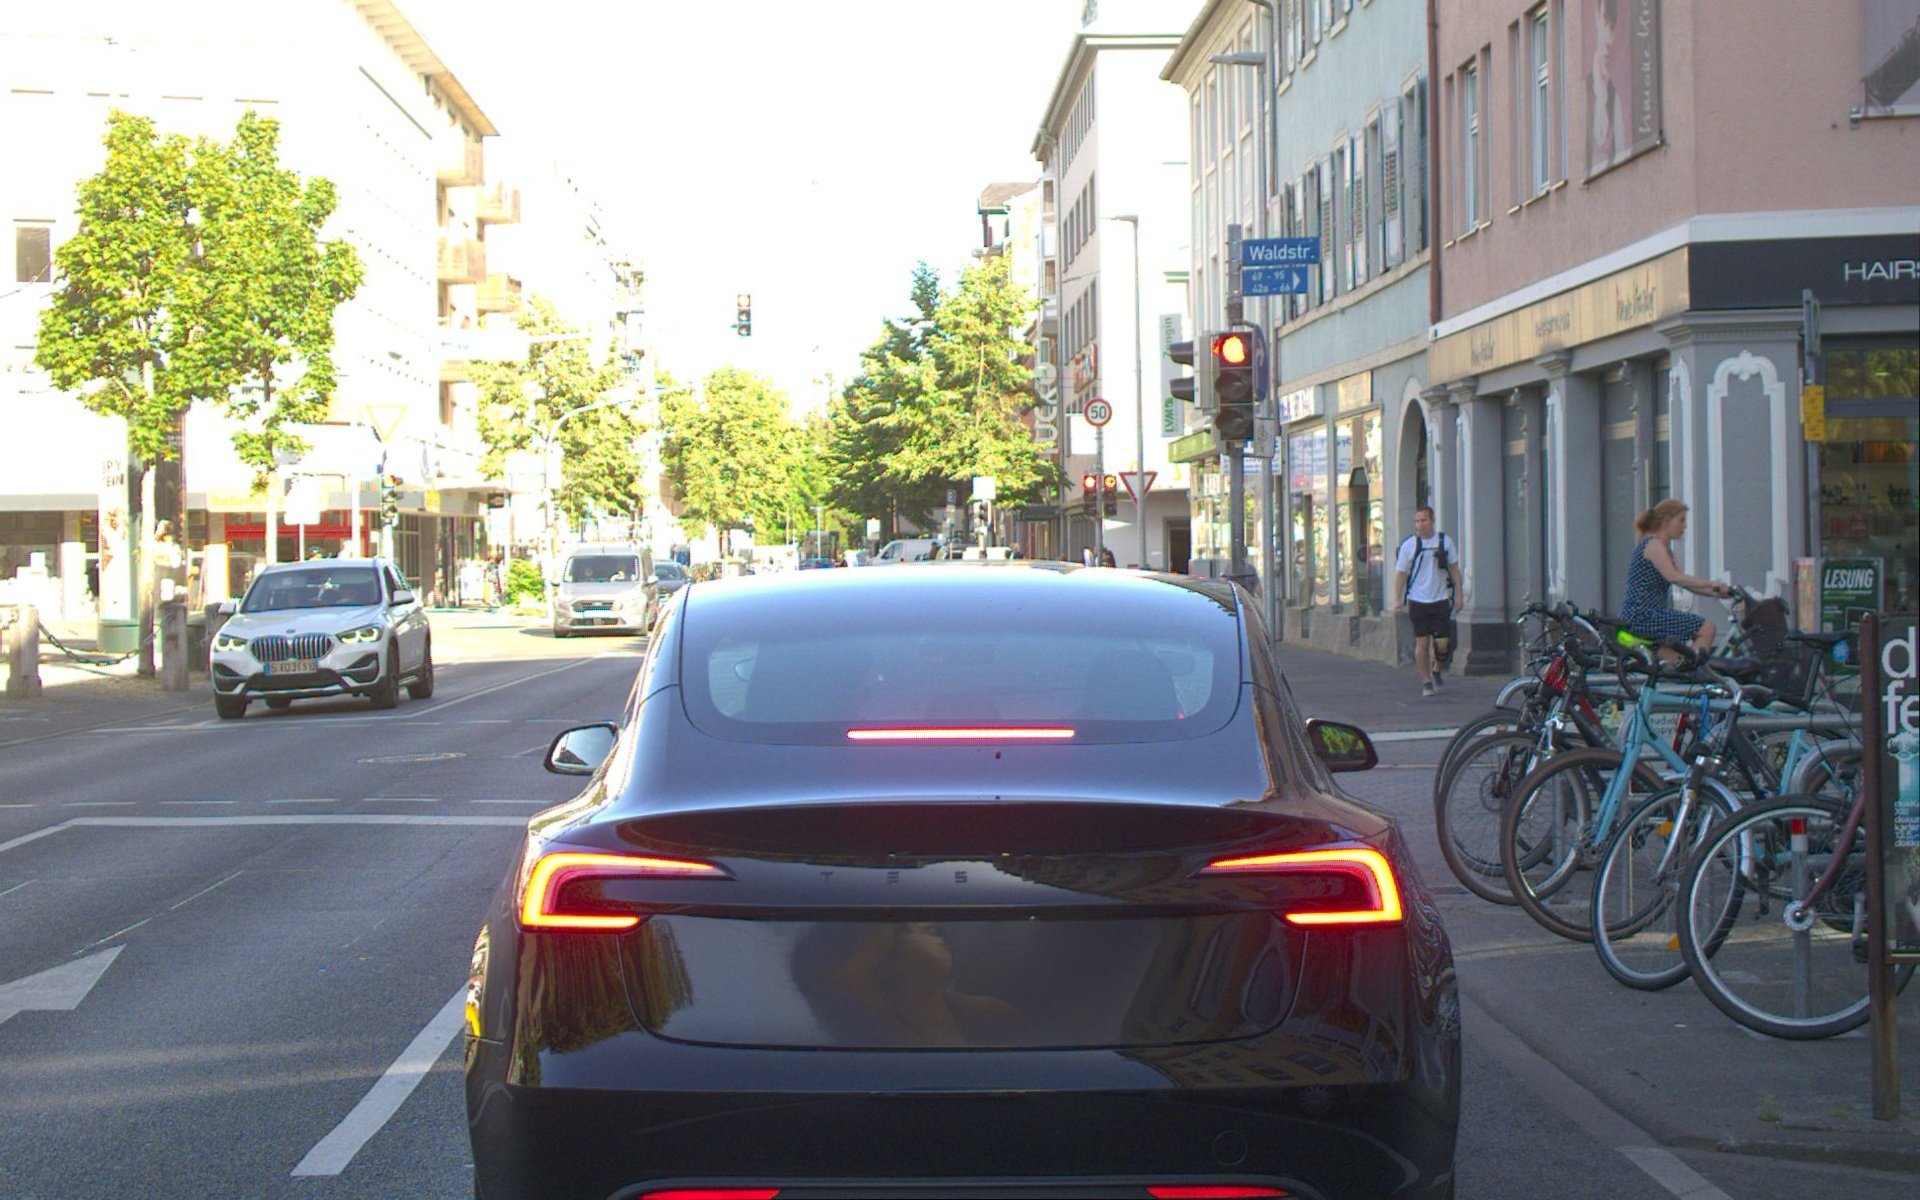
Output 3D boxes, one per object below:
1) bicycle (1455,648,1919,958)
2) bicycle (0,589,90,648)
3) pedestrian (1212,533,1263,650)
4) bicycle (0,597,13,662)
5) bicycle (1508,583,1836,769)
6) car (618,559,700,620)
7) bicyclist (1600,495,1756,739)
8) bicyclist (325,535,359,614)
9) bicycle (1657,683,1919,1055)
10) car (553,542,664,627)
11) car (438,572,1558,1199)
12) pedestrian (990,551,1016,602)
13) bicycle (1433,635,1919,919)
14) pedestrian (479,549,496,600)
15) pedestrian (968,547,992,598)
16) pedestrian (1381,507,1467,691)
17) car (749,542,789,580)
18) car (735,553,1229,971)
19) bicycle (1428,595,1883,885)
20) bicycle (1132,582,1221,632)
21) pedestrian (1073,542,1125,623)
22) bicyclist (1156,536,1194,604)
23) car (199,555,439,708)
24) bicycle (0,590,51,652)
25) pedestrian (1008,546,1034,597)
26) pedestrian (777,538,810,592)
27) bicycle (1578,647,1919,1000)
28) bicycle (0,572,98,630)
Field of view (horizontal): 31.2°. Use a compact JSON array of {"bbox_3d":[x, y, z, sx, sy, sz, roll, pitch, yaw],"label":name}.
[{"bbox_3d":[2.775,0.724,12.448,1.873,1.034,0.533,-2,0,4],"label":"bicycle"},{"bbox_3d":[-14.835,0.294,54.641,1.864,0.931,0.606,0,1,-1],"label":"bicycle"},{"bbox_3d":[4.147,-0.118,51.433,0.706,1.736,0.540,0,-1,-1],"label":"pedestrian"},{"bbox_3d":[-14.742,0.408,49.841,1.864,0.931,0.606,1,0,-1],"label":"bicycle"},{"bbox_3d":[4.414,0.452,21.297,1.935,1.114,0.708,0,0,17],"label":"bicycle"},{"bbox_3d":[-7.436,-0.279,85.078,1.715,1.441,3.845,1,1,-1],"label":"car"},{"bbox_3d":[4.454,0.101,21.297,0.891,1.477,0.701,0,0,17],"label":"bicyclist"},{"bbox_3d":[-11.874,-0.491,66.077,0.522,1.498,0.476,1,0,-24],"label":"bicyclist"},{"bbox_3d":[3.009,0.759,9.977,1.873,1.034,0.353,-2,0,6],"label":"bicycle"},{"bbox_3d":[-6.907,-0.333,67.937,1.787,1.640,4.403,0,1,-1],"label":"car"},{"bbox_3d":[0.039,0.661,7.599,1.822,1.437,4.000,0,1,-1],"label":"car"},{"bbox_3d":[1.195,-0.655,95.040,0.521,1.417,0.479,1,0,-30],"label":"pedestrian"},{"bbox_3d":[2.843,0.692,13.590,1.873,1.034,0.547,-2,0,5],"label":"bicycle"},{"bbox_3d":[-13.582,-0.729,98.873,0.459,1.455,0.518,0,1,-5],"label":"pedestrian"},{"bbox_3d":[0.557,-0.769,95.757,0.472,1.412,0.522,1,0,-31],"label":"pedestrian"},{"bbox_3d":[4.525,-0.013,33.573,0.750,1.759,0.836,-1,0,4],"label":"pedestrian"},{"bbox_3d":[-10.367,-2.137,186.978,1.993,2.007,4.000,1,1,-1],"label":"car"},{"bbox_3d":[0.010,0.538,13.822,1.718,1.420,3.758,0,1,-2],"label":"car"},{"bbox_3d":[2.963,0.596,14.754,1.828,1.165,0.505,-2,0,5],"label":"bicycle"},{"bbox_3d":[4.496,0.148,71.352,1.784,1.003,0.472,1,0,-16],"label":"bicycle"},{"bbox_3d":[2.809,-0.359,69.394,0.754,1.626,0.956,1,0,-18],"label":"pedestrian"},{"bbox_3d":[4.460,-0.623,71.331,0.669,1.390,0.462,1,0,-16],"label":"bicyclist"},{"bbox_3d":[-6.677,0.295,36.176,1.789,1.455,3.757,-2,1,0],"label":"car"},{"bbox_3d":[-14.807,0.319,52.192,1.864,0.931,0.606,0,1,-1],"label":"bicycle"},{"bbox_3d":[1.695,-0.803,95.894,0.521,1.417,0.479,1,0,-30],"label":"pedestrian"},{"bbox_3d":[-5.229,-1.091,107.867,0.715,1.689,0.851,0,1,-28],"label":"pedestrian"},{"bbox_3d":[2.993,0.706,11.162,1.873,1.084,0.414,-2,0,4],"label":"bicycle"},{"bbox_3d":[-20.828,0.018,78.046,2.361,1.291,0.513,1,0,-26],"label":"bicycle"}]
